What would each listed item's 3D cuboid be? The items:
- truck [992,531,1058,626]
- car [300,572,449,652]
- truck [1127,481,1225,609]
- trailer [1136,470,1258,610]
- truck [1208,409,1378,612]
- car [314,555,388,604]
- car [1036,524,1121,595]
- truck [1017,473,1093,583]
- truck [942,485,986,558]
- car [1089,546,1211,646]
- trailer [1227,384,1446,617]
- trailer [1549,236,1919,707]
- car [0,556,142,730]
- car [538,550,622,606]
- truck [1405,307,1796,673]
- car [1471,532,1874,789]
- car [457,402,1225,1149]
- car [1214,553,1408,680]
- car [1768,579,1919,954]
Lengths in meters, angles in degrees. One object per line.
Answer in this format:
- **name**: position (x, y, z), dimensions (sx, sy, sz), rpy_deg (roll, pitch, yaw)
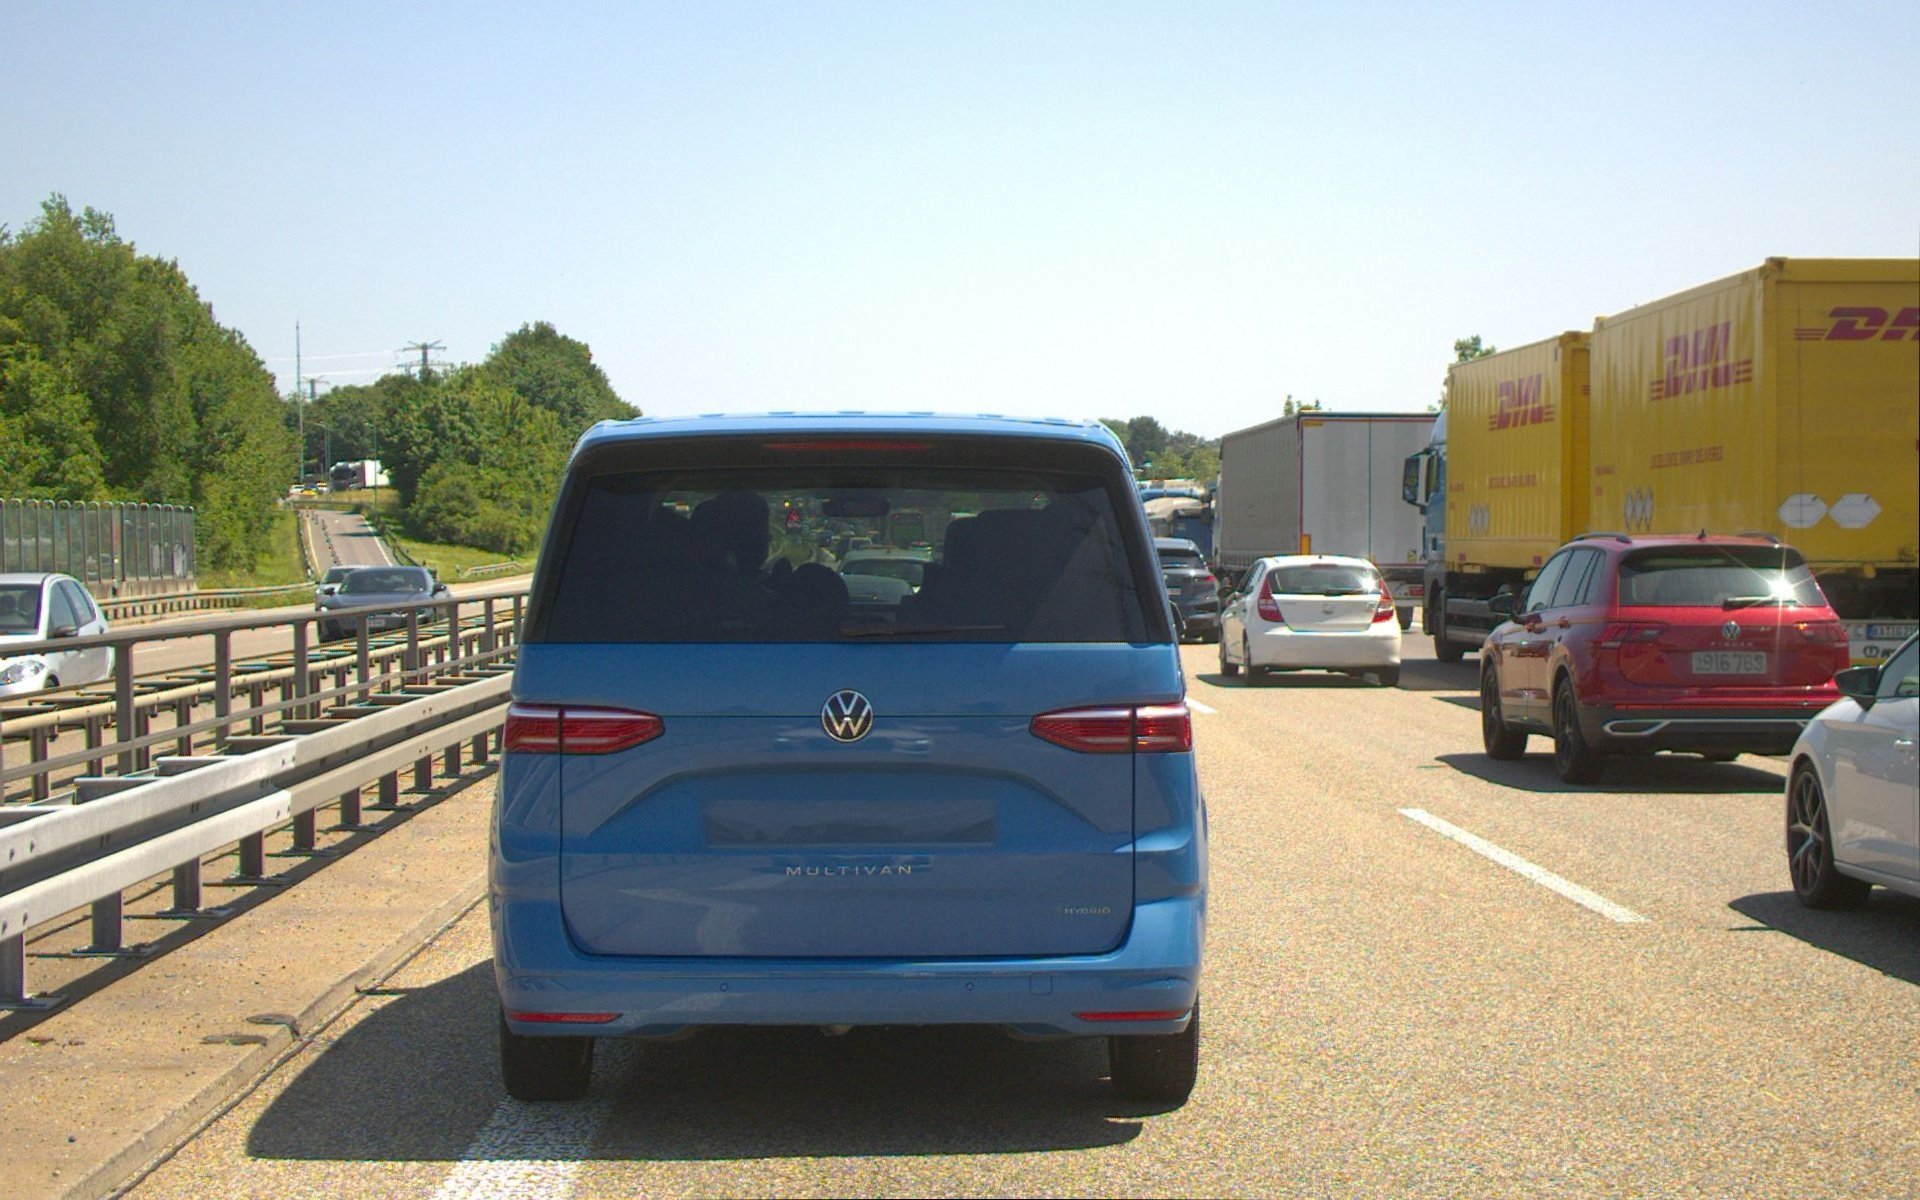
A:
- **truck**: position (3.497, -1.204, 189.070), dimensions (2.833, 5.023, 11.818), rpy_deg (1, 0, -2)
- **car**: position (-10.141, 0.192, 59.792), dimensions (1.896, 1.311, 4.372), rpy_deg (1, 0, -1)
- **truck**: position (6.449, -1.620, 103.321), dimensions (2.367, 3.709, 6.034), rpy_deg (1, 0, -1)
- **trailer**: position (6.643, -1.640, 97.828), dimensions (2.379, 3.731, 11.189), rpy_deg (1, 0, -1)
- **truck**: position (7.042, -1.852, 73.555), dimensions (2.768, 4.081, 6.984), rpy_deg (1, 0, -1)
- **car**: position (-18.566, -0.640, 104.911), dimensions (1.604, 1.389, 3.677), rpy_deg (-3, 1, -1)
- **car**: position (2.704, -0.935, 78.886), dimensions (1.715, 1.535, 3.821), rpy_deg (-2, 1, -1)
- **truck**: position (4.496, -3.359, 164.744), dimensions (2.833, 5.023, 11.147), rpy_deg (1, 0, -2)
- **truck**: position (0.263, -6.025, 266.380), dimensions (2.833, 5.354, 12.556), rpy_deg (1, 0, -2)
- **car**: position (3.071, -0.050, 56.212), dimensions (1.715, 1.581, 3.821), rpy_deg (0, 0, -1)
- **trailer**: position (7.168, -1.812, 67.088), dimensions (2.755, 4.132, 11.312), rpy_deg (1, 0, -1)
- **trailer**: position (8.050, -1.112, 33.893), dimensions (2.701, 4.010, 8.931), rpy_deg (1, 0, -1)
- **car**: position (-9.030, 0.378, 32.299), dimensions (1.840, 1.524, 3.558), rpy_deg (-2, 1, -1)
- **car**: position (-10.279, -0.588, 93.148), dimensions (1.842, 1.441, 4.419), rpy_deg (1, 0, -1)
- **truck**: position (7.822, -1.252, 43.544), dimensions (2.722, 4.041, 10.337), rpy_deg (1, 0, -1)
- **car**: position (4.748, 0.343, 23.480), dimensions (1.851, 1.603, 4.000), rpy_deg (0, 1, -1)
- **car**: position (-0.324, 0.402, 10.435), dimensions (1.882, 1.831, 4.000), rpy_deg (0, 1, -1)
- **car**: position (4.071, 0.159, 40.448), dimensions (1.838, 1.409, 4.000), rpy_deg (0, 1, -1)
- **car**: position (4.477, 0.632, 13.019), dimensions (1.781, 1.382, 4.188), rpy_deg (0, 1, -1)
